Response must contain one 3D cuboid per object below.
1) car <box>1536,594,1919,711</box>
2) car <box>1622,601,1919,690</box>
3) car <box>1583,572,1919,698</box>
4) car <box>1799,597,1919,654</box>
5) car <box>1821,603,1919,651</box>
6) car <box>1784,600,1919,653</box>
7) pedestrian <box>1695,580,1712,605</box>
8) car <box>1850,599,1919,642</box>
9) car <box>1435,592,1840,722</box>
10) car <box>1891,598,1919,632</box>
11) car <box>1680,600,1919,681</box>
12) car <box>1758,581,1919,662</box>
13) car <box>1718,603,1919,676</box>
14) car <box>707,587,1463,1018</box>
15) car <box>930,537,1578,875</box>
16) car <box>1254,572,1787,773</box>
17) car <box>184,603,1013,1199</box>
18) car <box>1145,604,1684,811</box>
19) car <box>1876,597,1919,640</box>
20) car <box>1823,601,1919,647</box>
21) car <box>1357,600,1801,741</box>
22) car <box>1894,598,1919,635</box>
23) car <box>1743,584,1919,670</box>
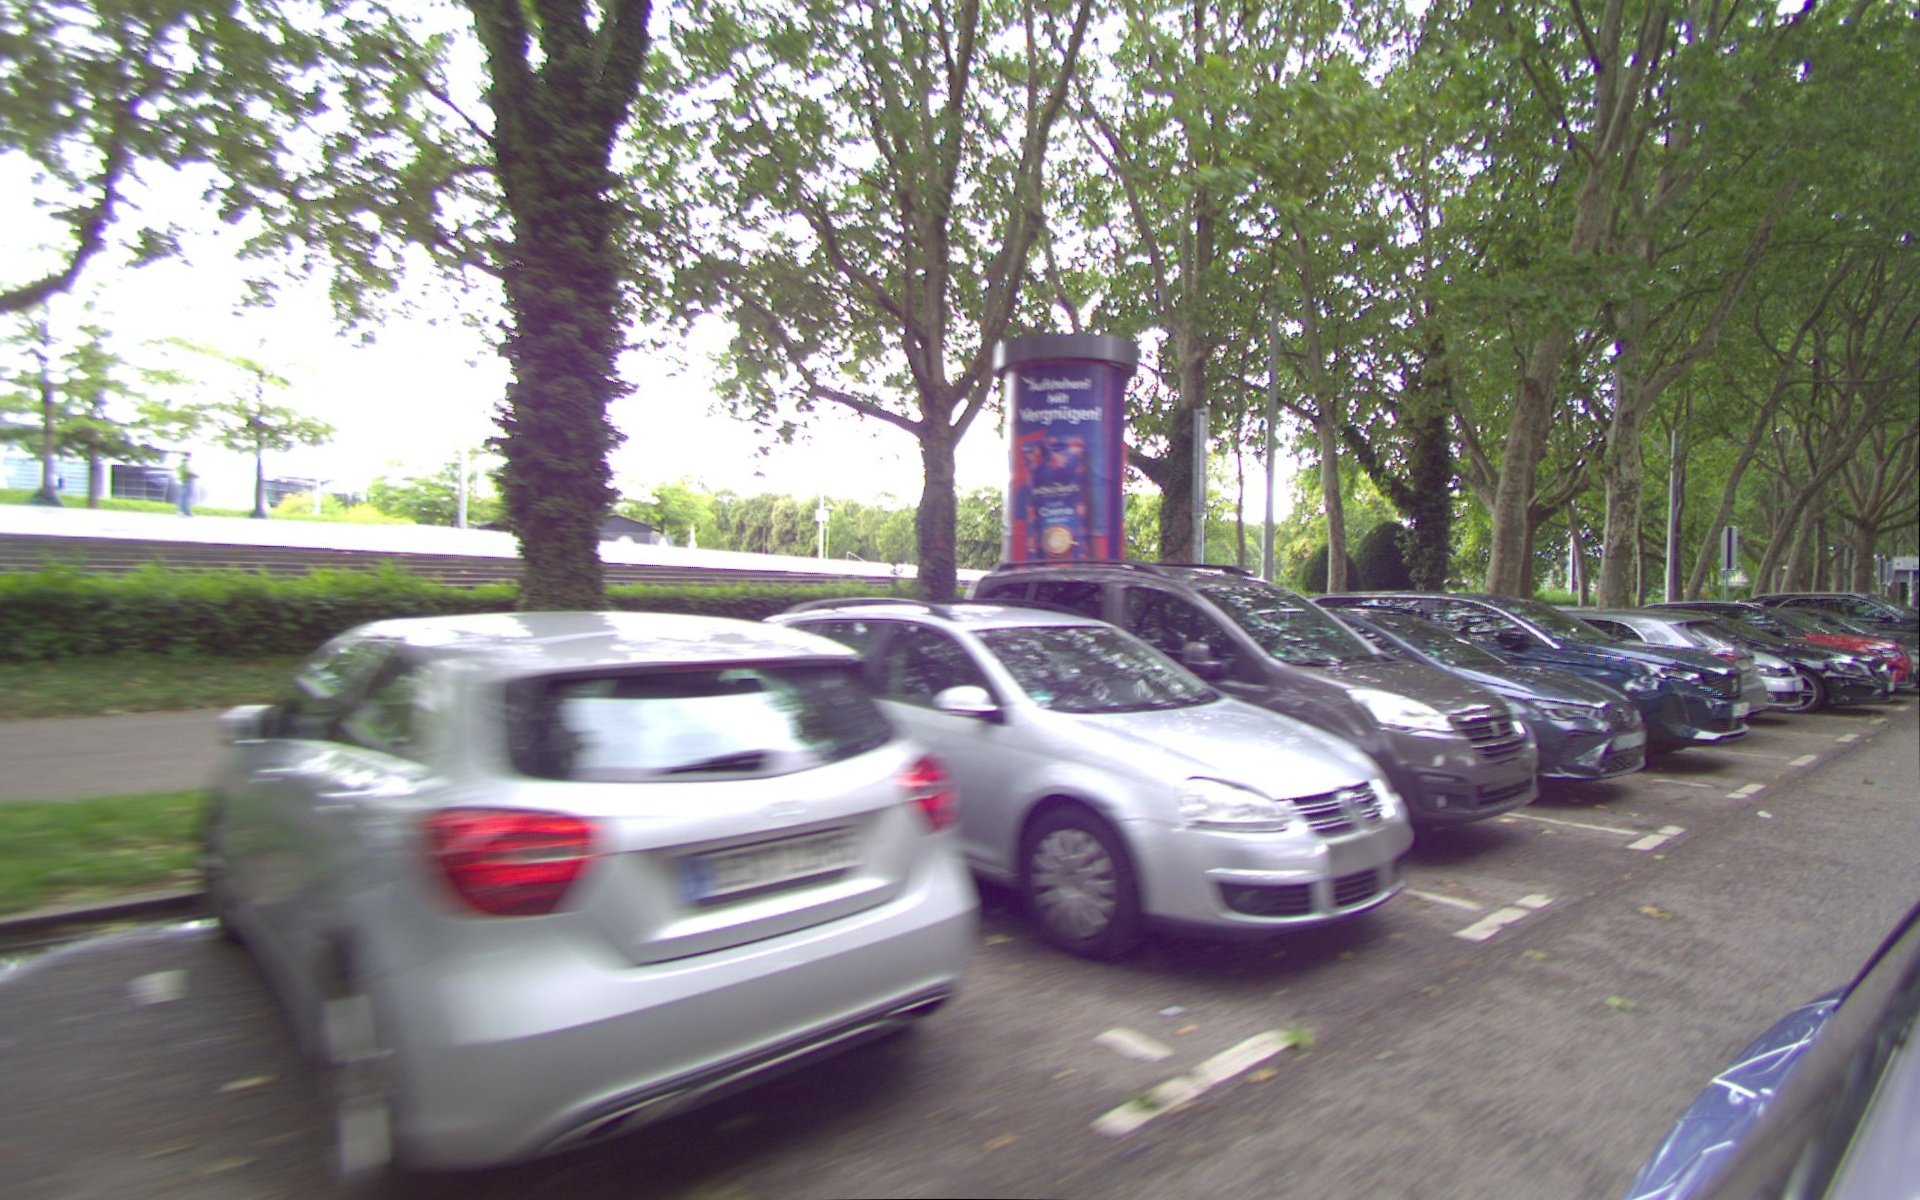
[{"bbox_3d":[11.500,0.690,15.418,1.890,1.521,4.357,1,-1,-37],"label":"car"},{"bbox_3d":[14.976,0.741,18.498,1.796,1.438,4.505,0,0,-39],"label":"car"},{"bbox_3d":[13.397,0.521,17.072,2.009,1.819,4.508,1,-1,-36],"label":"car"},{"bbox_3d":[26.314,0.704,28.245,1.754,1.538,4.202,0,-1,-41],"label":"car"},{"bbox_3d":[29.769,0.837,31.637,1.755,1.474,4.199,1,-1,-43],"label":"car"},{"bbox_3d":[27.676,0.776,30.518,1.755,1.538,4.199,1,-1,-43],"label":"car"},{"bbox_3d":[48.171,-0.471,65.593,0.685,1.587,0.725,0,0,-34],"label":"pedestrian"},{"bbox_3d":[33.556,0.714,35.071,4.016,1.466,1.884,0,-1,44],"label":"car"},{"bbox_3d":[9.282,0.682,14.249,1.888,1.521,4.361,1,-1,-34],"label":"car"},{"bbox_3d":[42.848,0.659,43.019,1.686,1.435,4.600,1,0,-37],"label":"car"},{"bbox_3d":[16.950,0.720,19.656,1.898,1.446,4.504,0,0,-40],"label":"car"},{"bbox_3d":[22.602,0.503,24.755,2.010,1.890,4.506,1,-1,-38],"label":"car"},{"bbox_3d":[18.680,0.781,21.365,1.708,1.408,3.992,0,0,-39],"label":"car"},{"bbox_3d":[0.303,0.693,5.630,1.696,1.476,4.157,0,0,-40],"label":"car"},{"bbox_3d":[1.864,0.560,7.528,1.805,1.768,4.352,1,-1,-42],"label":"car"},{"bbox_3d":[5.615,0.606,10.723,1.838,1.660,4.602,1,-1,-38],"label":"car"},{"bbox_3d":[-1.673,0.745,3.824,1.637,1.445,3.643,1,-1,-43],"label":"car"},{"bbox_3d":[3.769,0.743,8.990,1.712,1.397,4.048,1,-1,-40],"label":"car"},{"bbox_3d":[37.496,0.714,37.876,2.017,1.644,4.533,1,0,-40],"label":"car"},{"bbox_3d":[31.383,0.778,33.453,1.755,1.474,4.199,1,-1,-43],"label":"car"},{"bbox_3d":[7.457,0.726,12.580,1.891,1.431,4.354,1,-1,-40],"label":"car"},{"bbox_3d":[39.188,0.669,39.526,1.688,1.435,3.838,1,0,-40],"label":"car"},{"bbox_3d":[20.539,0.584,22.637,2.011,1.819,4.503,1,-1,-41],"label":"car"}]
